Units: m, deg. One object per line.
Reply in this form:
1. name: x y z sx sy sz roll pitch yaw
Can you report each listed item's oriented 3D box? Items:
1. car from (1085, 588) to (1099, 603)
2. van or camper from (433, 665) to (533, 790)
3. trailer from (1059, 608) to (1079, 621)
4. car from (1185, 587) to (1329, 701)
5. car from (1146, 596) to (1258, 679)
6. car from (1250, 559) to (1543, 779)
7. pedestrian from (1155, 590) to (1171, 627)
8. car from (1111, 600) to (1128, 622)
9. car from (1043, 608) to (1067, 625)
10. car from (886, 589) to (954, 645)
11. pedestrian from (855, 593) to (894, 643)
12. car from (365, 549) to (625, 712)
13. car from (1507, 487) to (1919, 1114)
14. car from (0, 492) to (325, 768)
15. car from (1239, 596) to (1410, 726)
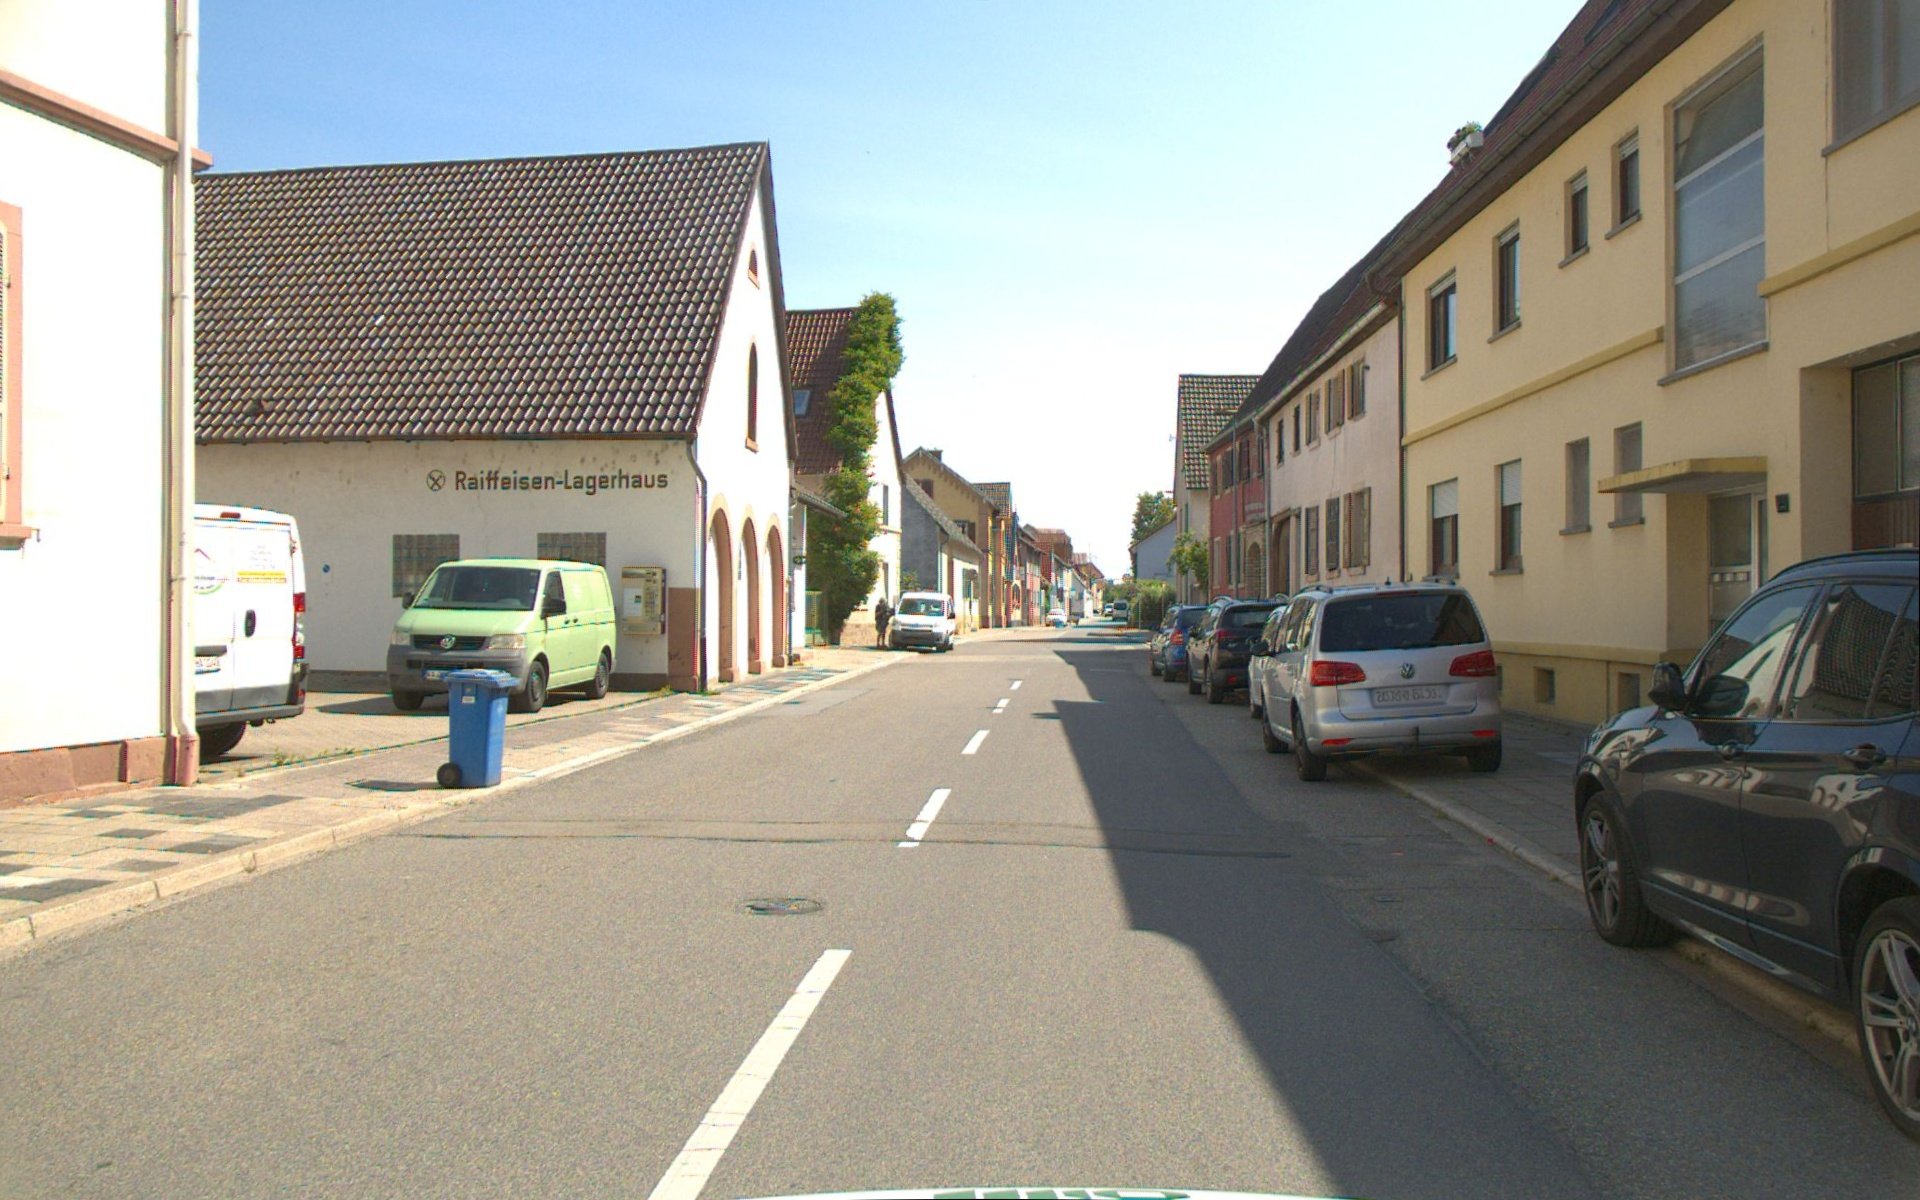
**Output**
1. car: 20.745 -0.670 259.115 2.112 2.116 4.001 -1 -2 4
2. van or camper: -3.907 1.031 13.571 0.577 0.968 0.600 0 0 9
3. trailer: 10.678 1.401 162.547 1.952 1.109 4.002 0 1 4
4. car: 4.583 0.648 26.035 1.663 1.611 4.028 -1 0 2
5. car: 4.714 0.705 32.747 1.663 1.495 4.411 -1 0 1
6. car: 3.904 0.566 15.519 1.858 1.758 4.250 1 0 4
7. pedestrian: 9.540 0.399 77.633 0.703 1.693 0.893 0 0 8
8. car: 19.199 1.281 199.224 1.975 2.613 4.002 -1 0 4
9. car: 8.401 1.484 145.956 1.951 1.467 4.002 -1 0 5
10. car: -1.209 0.504 51.729 1.816 1.676 4.431 0 0 2
11. pedestrian: -2.696 0.565 52.204 1.112 1.579 1.017 1 0 2
12. car: -6.215 0.378 22.736 1.951 1.999 4.672 0 0 4
13. car: 3.661 0.546 6.205 1.805 1.732 5.183 -1 0 4
14. car: -8.642 0.215 14.987 5.065 2.235 2.124 1 0 13
15. car: 4.497 0.709 20.862 1.518 1.463 3.722 -1 0 4
